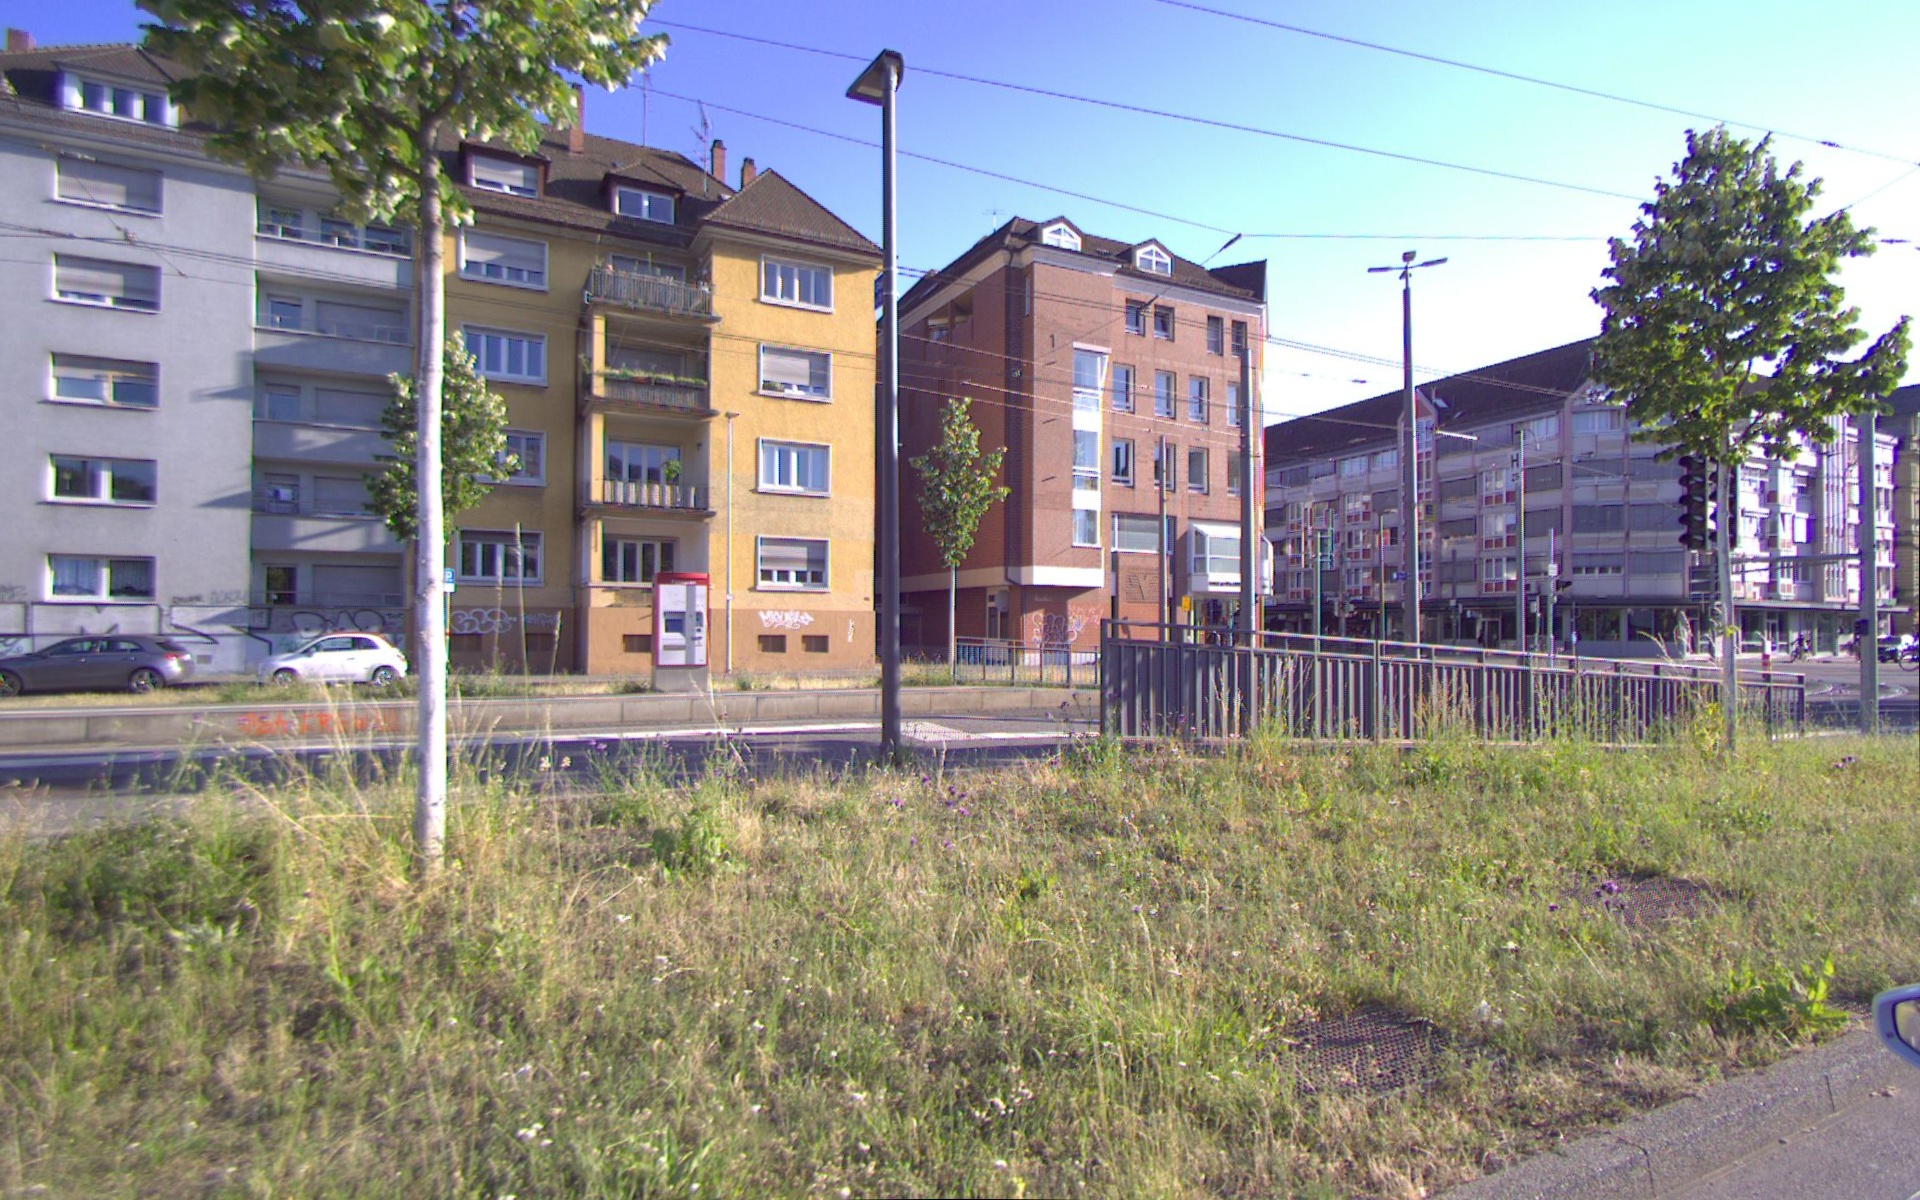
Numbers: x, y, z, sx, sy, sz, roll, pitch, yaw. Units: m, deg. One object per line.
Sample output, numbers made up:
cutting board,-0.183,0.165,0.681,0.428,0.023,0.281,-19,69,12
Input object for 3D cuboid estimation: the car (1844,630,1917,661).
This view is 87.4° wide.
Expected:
car,56.299,2.760,61.440,3.947,1.884,1.987,1,-2,-26

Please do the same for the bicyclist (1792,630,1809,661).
bicyclist,51.933,2.814,62.090,0.633,1.886,0.591,1,-2,-26

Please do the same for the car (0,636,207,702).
car,-21.771,1.670,25.143,4.377,1.528,1.985,1,-2,-29

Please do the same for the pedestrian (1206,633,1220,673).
pedestrian,11.856,2.485,47.034,0.532,1.831,0.502,0,-2,0

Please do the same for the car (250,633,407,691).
car,-17.216,1.657,27.586,3.509,1.505,1.740,1,-2,-29

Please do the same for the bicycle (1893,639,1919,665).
bicycle,39.475,2.134,41.134,1.747,1.086,0.535,-1,-2,25

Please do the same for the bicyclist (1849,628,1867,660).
bicyclist,57.866,2.827,64.716,0.768,2.040,0.601,1,-1,-24

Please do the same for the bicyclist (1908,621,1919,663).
bicyclist,39.415,1.721,41.175,0.653,1.734,0.538,-1,-2,24

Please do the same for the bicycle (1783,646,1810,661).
bicycle,51.498,3.289,61.862,1.812,0.927,0.596,1,-2,-27
